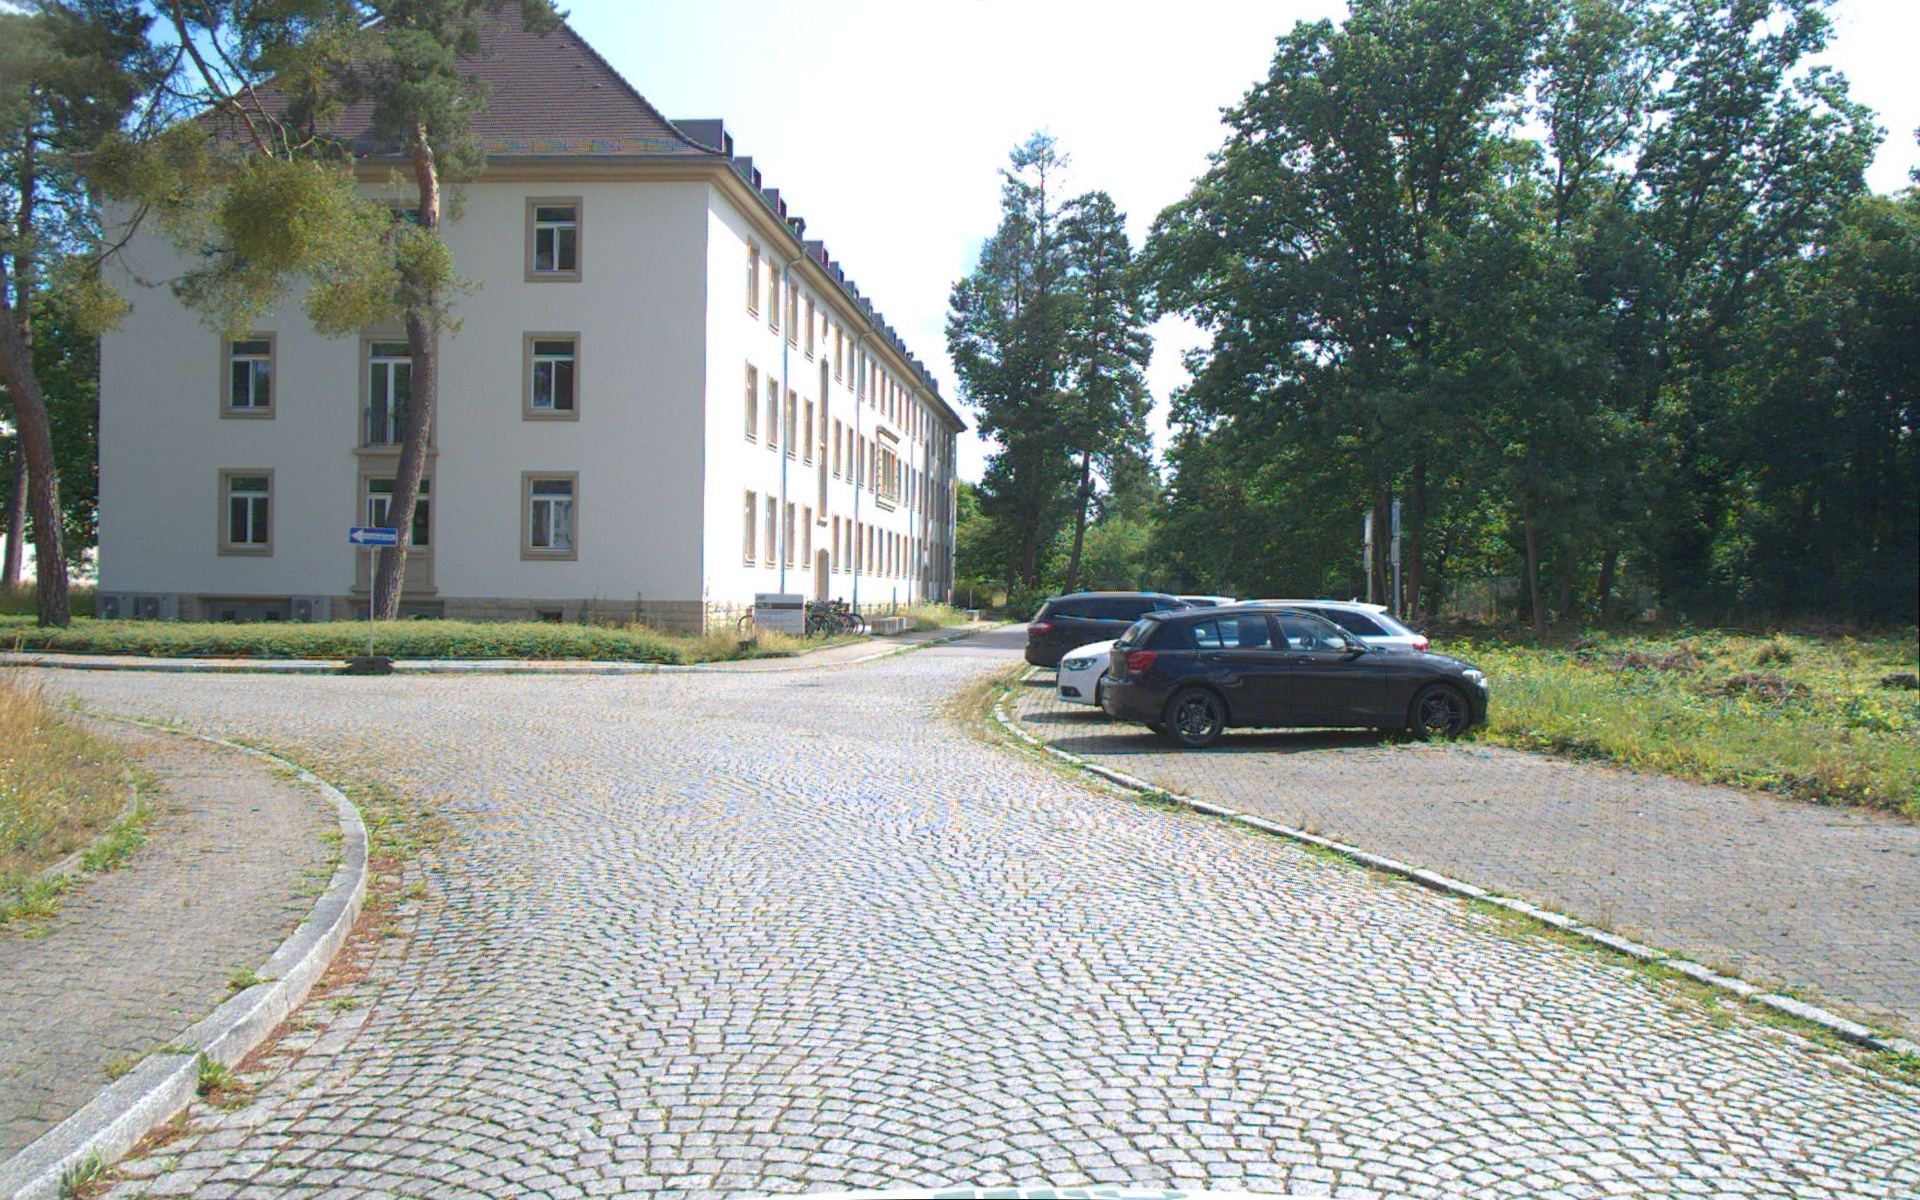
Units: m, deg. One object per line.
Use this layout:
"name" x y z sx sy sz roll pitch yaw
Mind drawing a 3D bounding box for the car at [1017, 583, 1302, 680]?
"car" 3.396 0.542 28.720 4.751 1.580 1.880 -1 -1 3

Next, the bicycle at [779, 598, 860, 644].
"bicycle" -3.925 0.585 46.396 2.175 1.282 0.623 0 0 7

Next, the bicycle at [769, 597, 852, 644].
"bicycle" -4.118 0.559 45.567 2.174 1.282 0.623 0 0 11

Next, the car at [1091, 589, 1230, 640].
"car" 6.206 0.443 51.337 4.175 1.510 1.821 -1 -1 7

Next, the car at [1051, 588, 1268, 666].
"car" 4.051 0.554 34.032 4.306 1.510 1.766 -1 -1 3

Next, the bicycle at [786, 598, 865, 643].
"bicycle" -3.857 0.582 47.403 2.175 1.282 0.623 0 0 7

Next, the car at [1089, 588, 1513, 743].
"car" 3.645 0.669 18.174 4.238 1.526 1.829 -1 1 -3

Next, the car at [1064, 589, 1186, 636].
"car" 5.684 0.430 56.805 4.098 1.570 1.821 -1 -1 7

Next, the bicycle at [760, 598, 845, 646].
"bicycle" -4.243 0.587 44.622 2.175 1.282 0.623 0 0 7

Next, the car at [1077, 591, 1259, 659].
"car" 4.854 0.582 38.724 4.118 1.510 1.821 -1 -1 7

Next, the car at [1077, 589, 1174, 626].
"car" 7.104 0.317 70.859 4.098 1.510 1.821 -1 -1 7

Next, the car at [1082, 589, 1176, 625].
"car" 7.558 0.315 73.744 4.098 1.510 1.821 -1 -1 7

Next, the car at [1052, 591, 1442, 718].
"car" 3.588 0.670 21.353 4.760 1.498 1.875 -1 1 3

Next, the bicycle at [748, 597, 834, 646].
"bicycle" -4.471 0.561 43.849 2.174 1.282 0.623 0 0 11
